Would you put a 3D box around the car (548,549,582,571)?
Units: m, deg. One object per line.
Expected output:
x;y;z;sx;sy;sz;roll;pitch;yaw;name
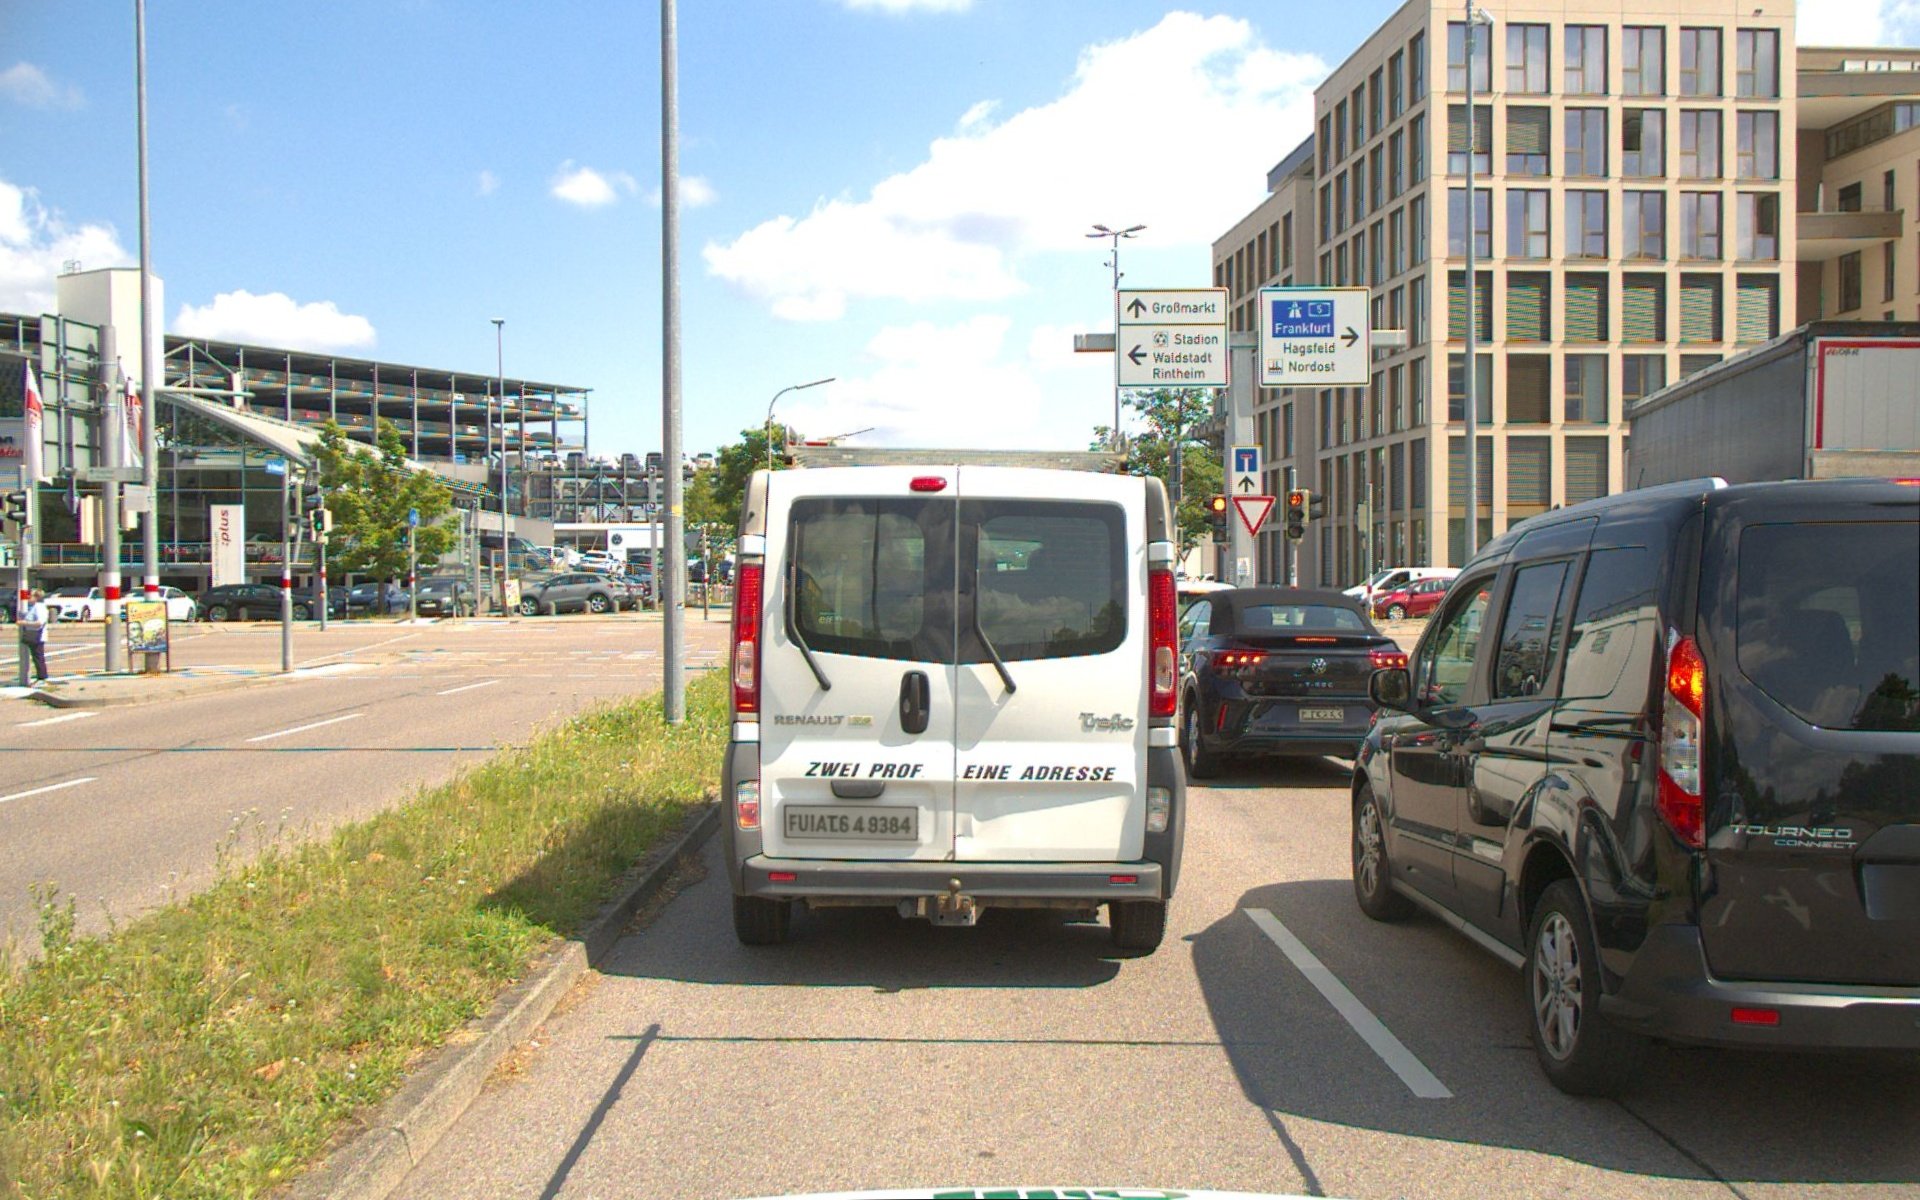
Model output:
-28.392;-2.887;119.029;1.810;1.556;3.996;0;1;-5;car

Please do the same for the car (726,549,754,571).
-15.764;-2.839;118.436;1.810;1.556;3.996;0;1;-5;car

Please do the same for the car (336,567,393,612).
-21.831;-0.393;60.767;1.789;1.579;3.980;0;0;-18;car

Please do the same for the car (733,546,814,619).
-6.251;-0.641;55.969;1.930;2.295;4.982;-1;1;2;car

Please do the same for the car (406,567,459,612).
-19.390;-0.390;60.865;1.789;1.579;3.980;0;0;-18;car

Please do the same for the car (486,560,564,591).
-24.966;-1.412;95.065;4.085;1.743;1.686;0;0;-7;car

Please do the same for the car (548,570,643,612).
-16.062;-0.416;73.037;3.836;1.742;1.687;-2;1;-5;car

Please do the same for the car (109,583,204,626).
-29.109;0.137;60.008;1.741;1.475;4.026;0;1;-5;car

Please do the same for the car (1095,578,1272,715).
2.768;0.532;21.262;1.704;1.570;4.000;1;0;0;car

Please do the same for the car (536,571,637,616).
-15.447;-0.274;68.504;3.836;1.742;1.687;-1;0;-5;car

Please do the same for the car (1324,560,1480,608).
15.324;-0.569;57.519;4.884;1.635;1.999;0;1;-4;car

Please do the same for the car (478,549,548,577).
-28.268;-2.334;104.655;4.085;1.743;1.686;0;0;-7;car

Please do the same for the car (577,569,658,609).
-15.809;-0.510;76.377;3.439;1.742;1.602;-2;1;-5;car

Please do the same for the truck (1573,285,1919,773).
9.116;-0.679;17.888;3.063;4.009;8.867;0;1;10;truck

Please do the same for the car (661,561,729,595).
-15.583;-1.278;97.451;3.911;1.959;1.824;0;0;-8;car

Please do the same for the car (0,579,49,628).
-34.436;0.100;59.361;1.722;1.689;3.613;0;1;-5;car

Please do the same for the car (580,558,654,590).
-20.003;-1.540;96.620;4.086;1.742;1.686;1;1;-7;car

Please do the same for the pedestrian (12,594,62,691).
-14.825;0.668;26.570;0.459;1.538;0.511;1;0;24;pedestrian

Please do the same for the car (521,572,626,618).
-15.379;-0.211;66.002;3.786;1.668;1.856;-2;1;-5;car

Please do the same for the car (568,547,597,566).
-31.272;-3.586;137.154;1.810;1.556;3.996;0;1;-5;car

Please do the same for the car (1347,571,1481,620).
14.598;-0.152;53.314;3.815;1.516;1.794;0;1;-2;car

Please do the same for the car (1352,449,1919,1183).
2.774;0.530;6.154;1.782;1.840;4.001;1;1;2;car

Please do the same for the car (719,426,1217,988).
0.064;0.382;8.112;1.817;2.053;4.001;1;0;1;car

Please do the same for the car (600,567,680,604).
-16.382;-0.748;84.760;3.836;1.742;1.687;-2;1;-5;car

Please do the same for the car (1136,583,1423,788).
2.624;0.635;14.472;1.704;1.521;4.000;1;0;0;car

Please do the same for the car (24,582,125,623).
-31.930;0.063;59.755;1.870;1.400;3.749;0;1;-5;car

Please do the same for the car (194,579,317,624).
-25.393;0.047;59.704;3.719;1.539;1.677;0;1;-6;car
